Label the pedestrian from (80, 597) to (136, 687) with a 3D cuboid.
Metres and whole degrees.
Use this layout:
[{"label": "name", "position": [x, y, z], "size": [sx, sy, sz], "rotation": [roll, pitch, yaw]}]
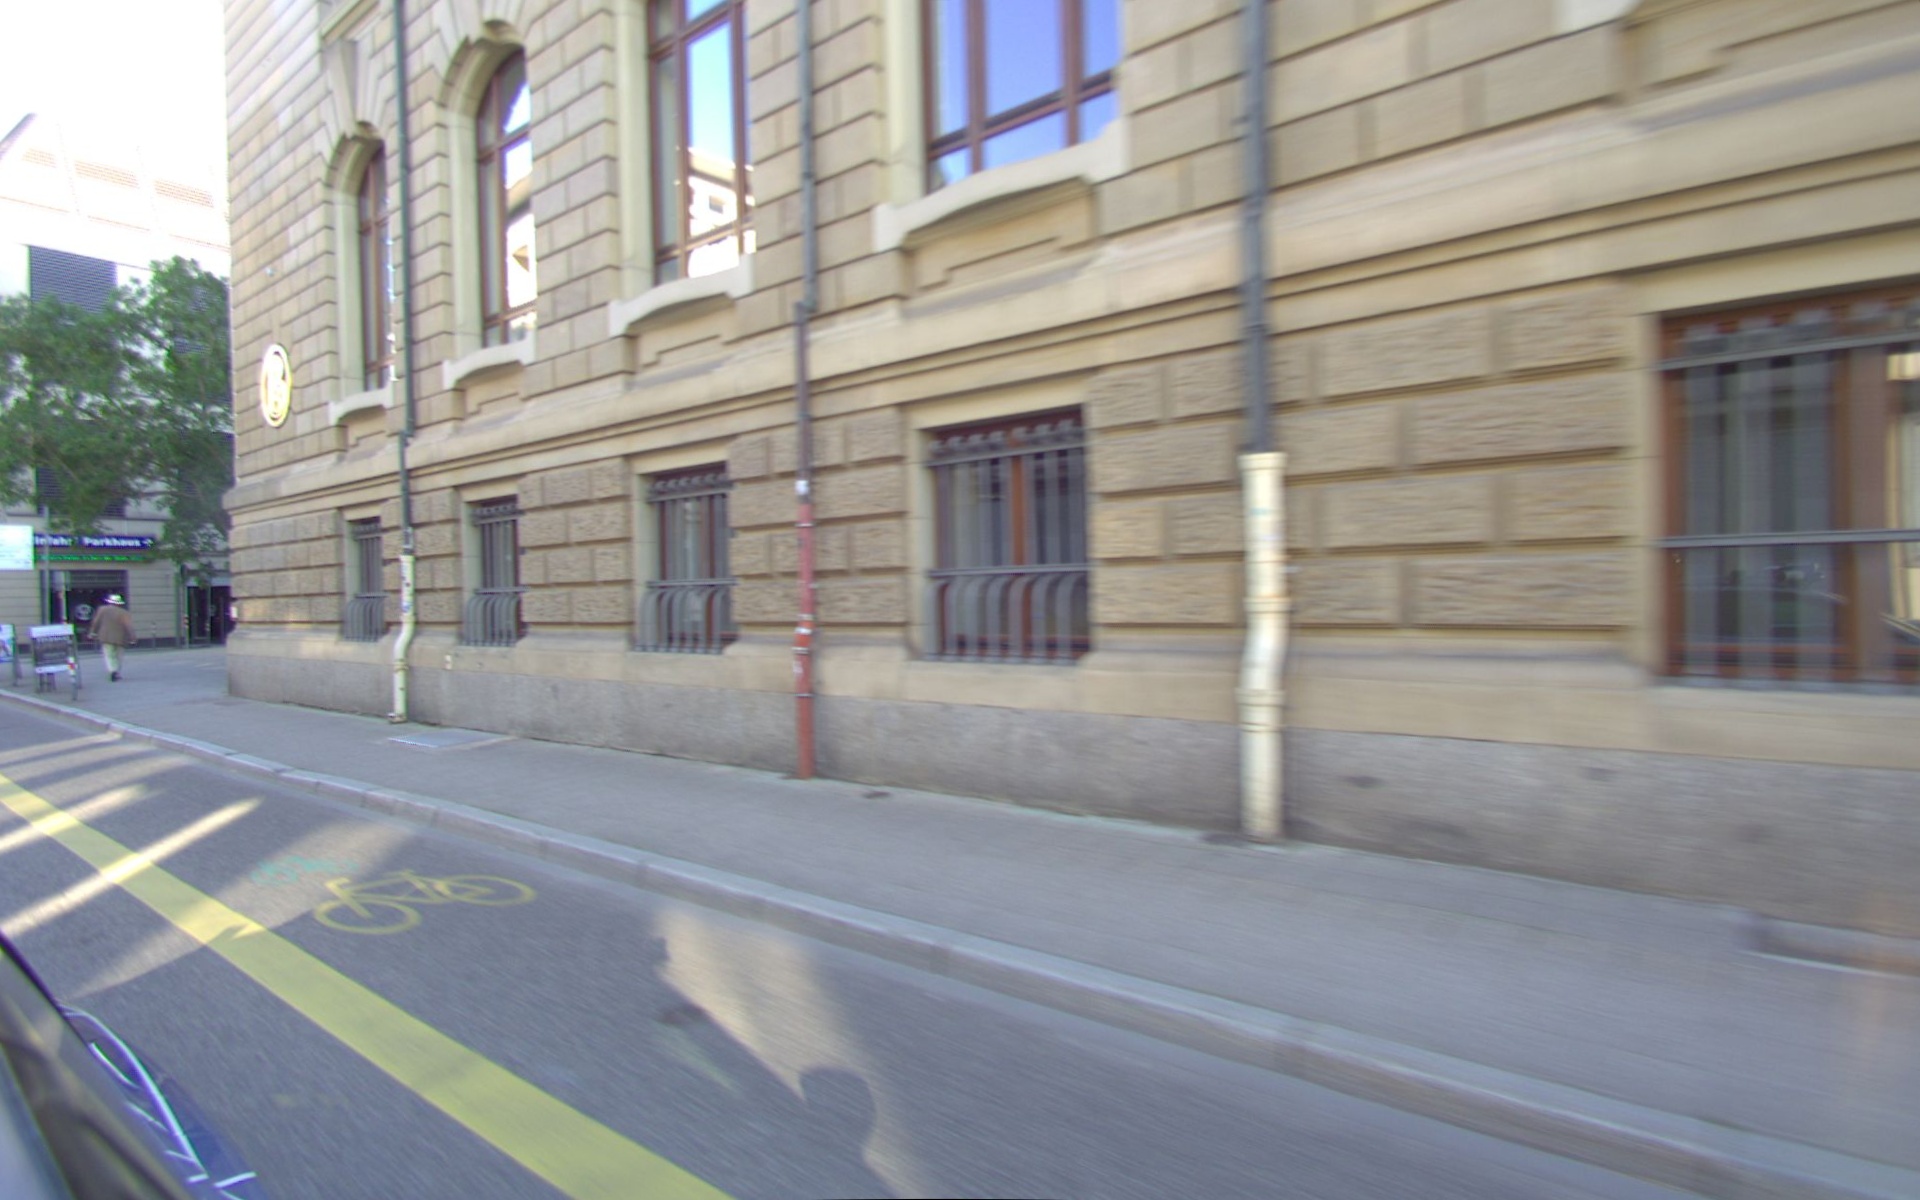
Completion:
[{"label": "pedestrian", "position": [-17.526, 0.844, 20.820], "size": [0.622, 1.793, 0.755], "rotation": [-1, 0, 40]}]
